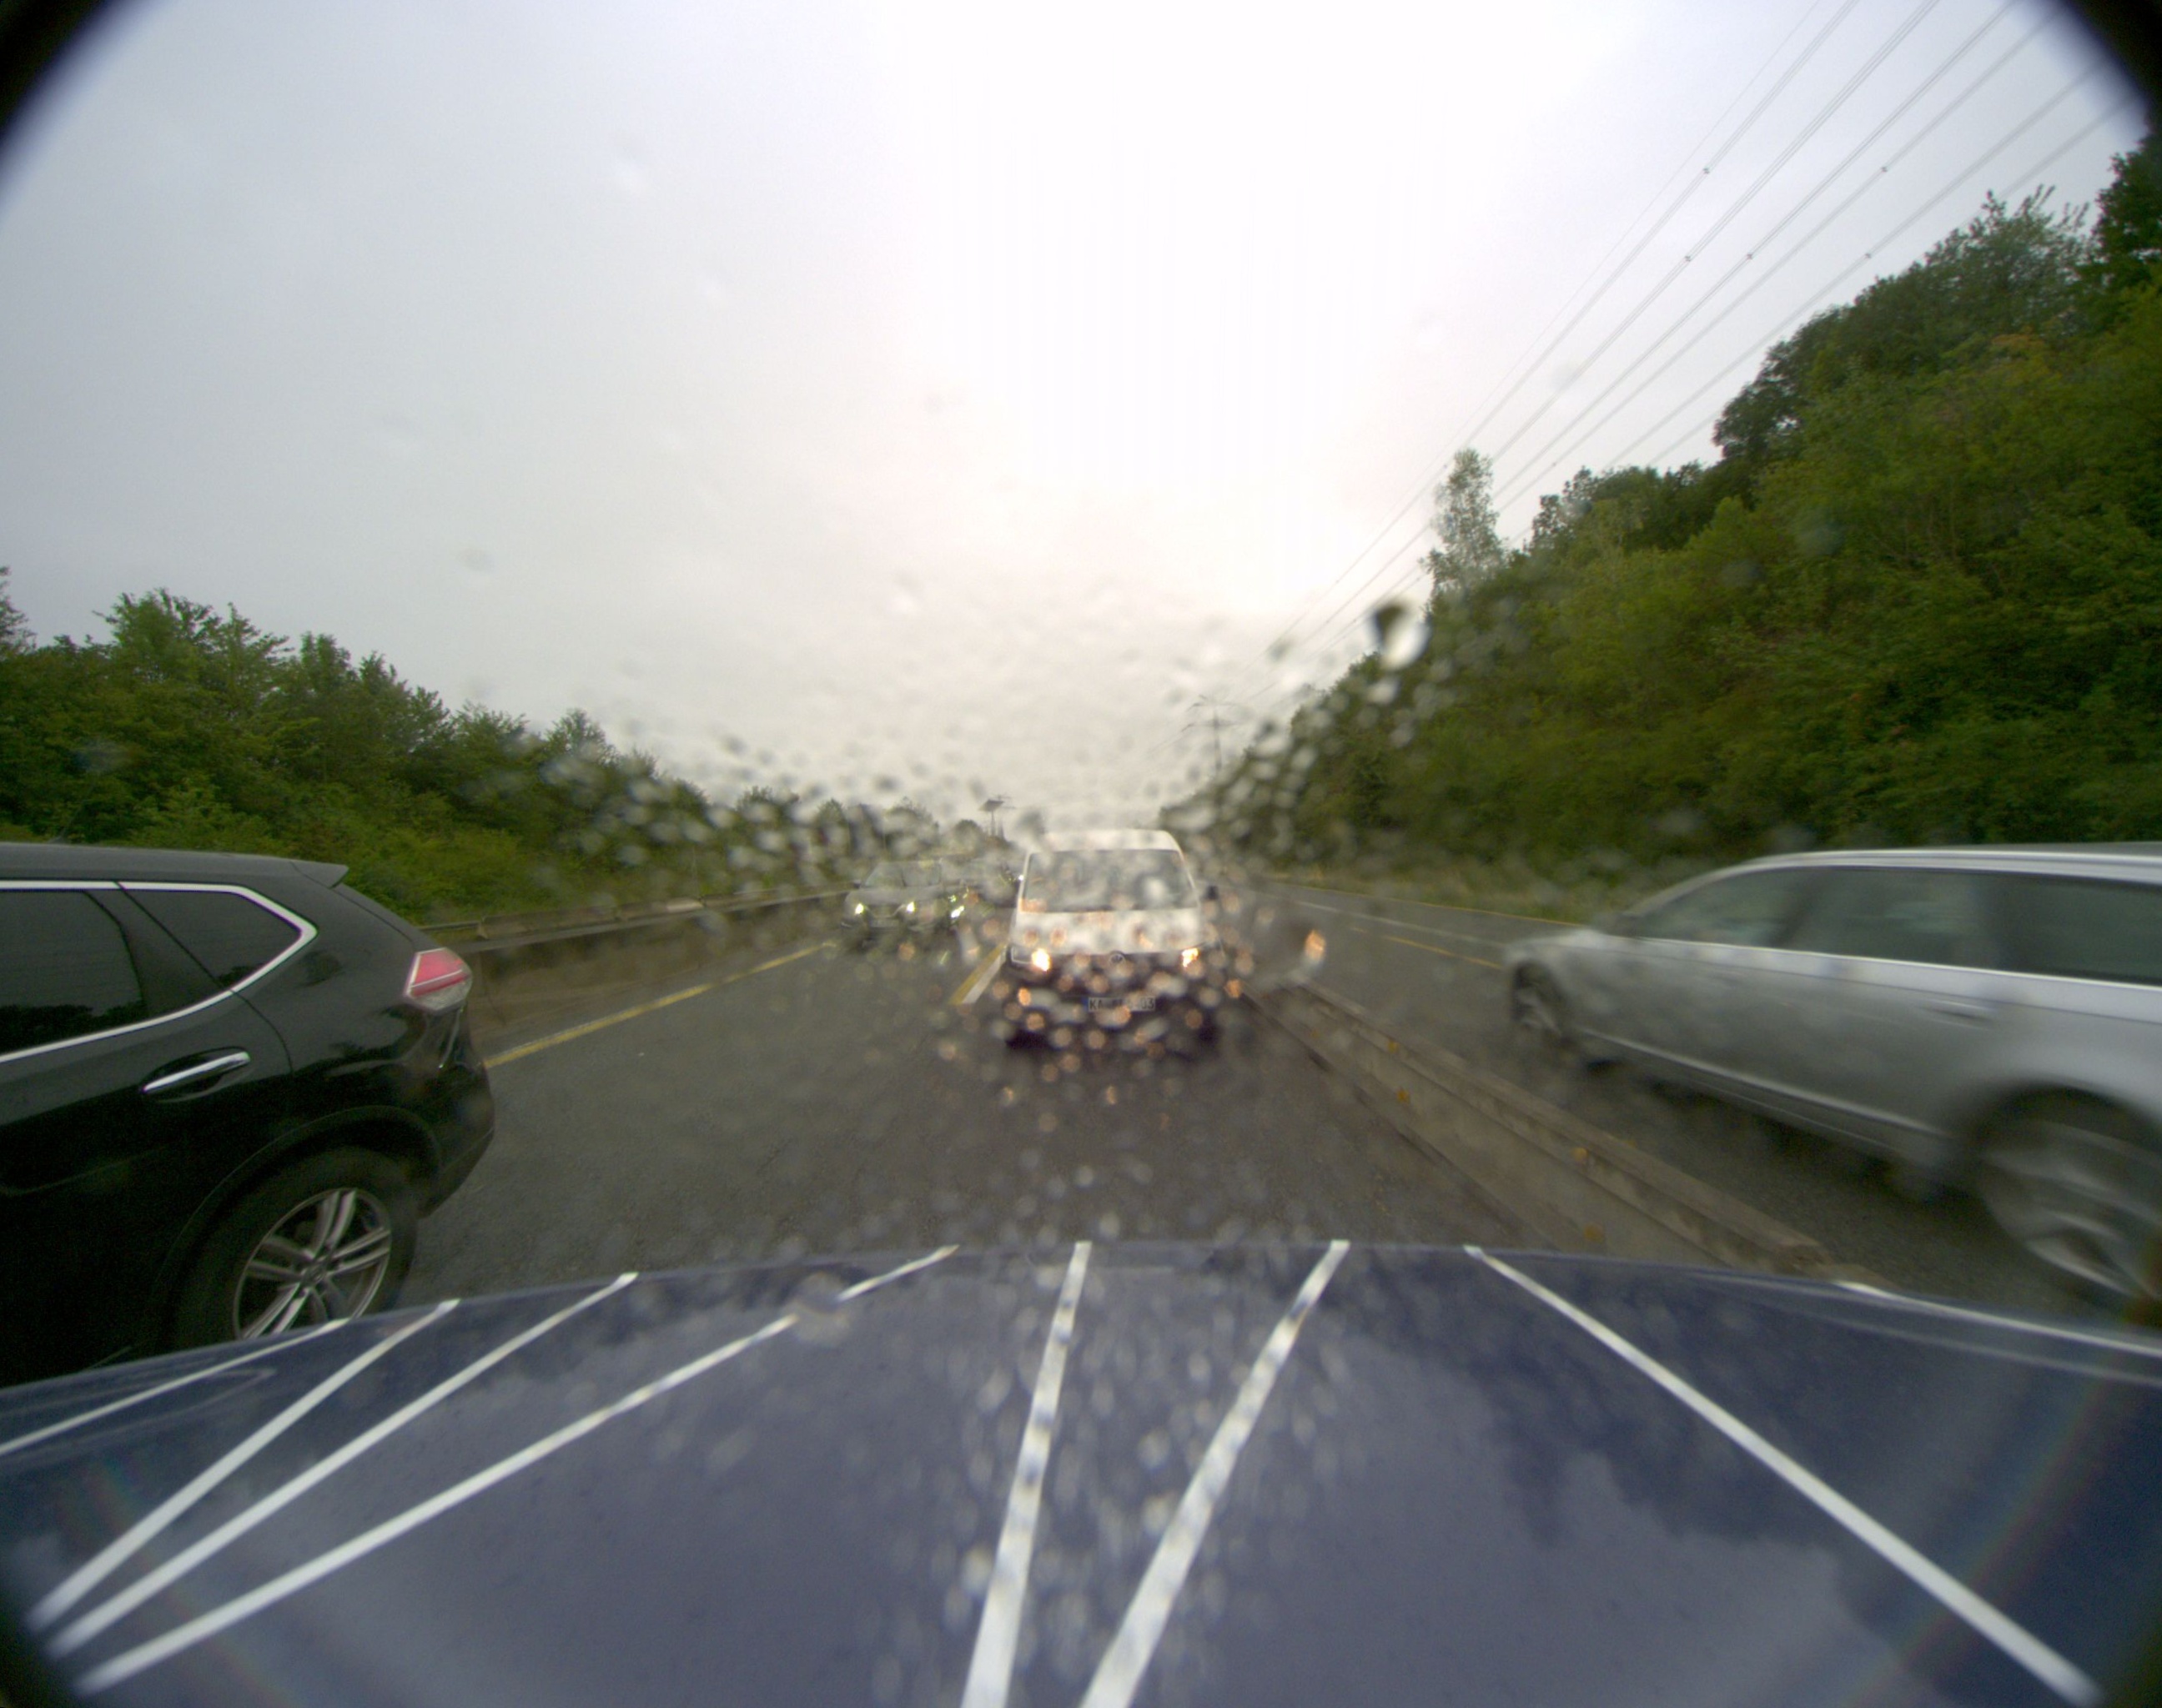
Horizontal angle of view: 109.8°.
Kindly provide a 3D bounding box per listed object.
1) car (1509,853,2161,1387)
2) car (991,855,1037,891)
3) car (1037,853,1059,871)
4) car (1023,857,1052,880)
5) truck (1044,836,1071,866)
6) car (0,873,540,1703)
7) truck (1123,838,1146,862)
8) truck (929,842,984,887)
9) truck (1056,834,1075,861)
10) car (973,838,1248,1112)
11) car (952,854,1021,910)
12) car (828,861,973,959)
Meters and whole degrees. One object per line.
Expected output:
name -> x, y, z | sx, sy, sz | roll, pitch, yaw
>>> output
car -> 3.943, 0.764, 3.187 | 1.784, 1.435, 4.327 | -2, 1, -1
car -> -3.113, 0.858, 35.996 | 1.784, 1.482, 4.123 | -2, 1, -1
car -> -2.945, 0.711, 68.206 | 1.784, 1.482, 4.123 | -2, 1, -1
car -> -3.022, 0.985, 53.449 | 1.784, 1.482, 4.123 | -2, 1, -1
truck -> -2.818, -0.415, 93.923 | 2.619, 3.404, 9.575 | -2, 1, 1
car -> -3.208, 0.969, 0.822 | 1.894, 1.665, 4.640 | -2, 1, -1
truck -> 7.933, -0.651, 113.746 | 2.541, 3.333, 12.048 | -2, 1, 1
truck -> -10.251, 0.777, 63.669 | 2.619, 3.404, 9.575 | -2, 1, 2
truck -> -2.331, -0.984, 117.777 | 2.619, 3.869, 9.573 | -2, 1, -1
car -> 0.174, 0.785, 7.438 | 1.784, 1.775, 4.697 | -2, 1, -1
car -> -3.051, 0.862, 25.376 | 1.784, 1.589, 4.123 | -2, 1, -1
car -> -3.270, 0.947, 14.612 | 1.784, 1.482, 4.123 | -2, 1, -1
